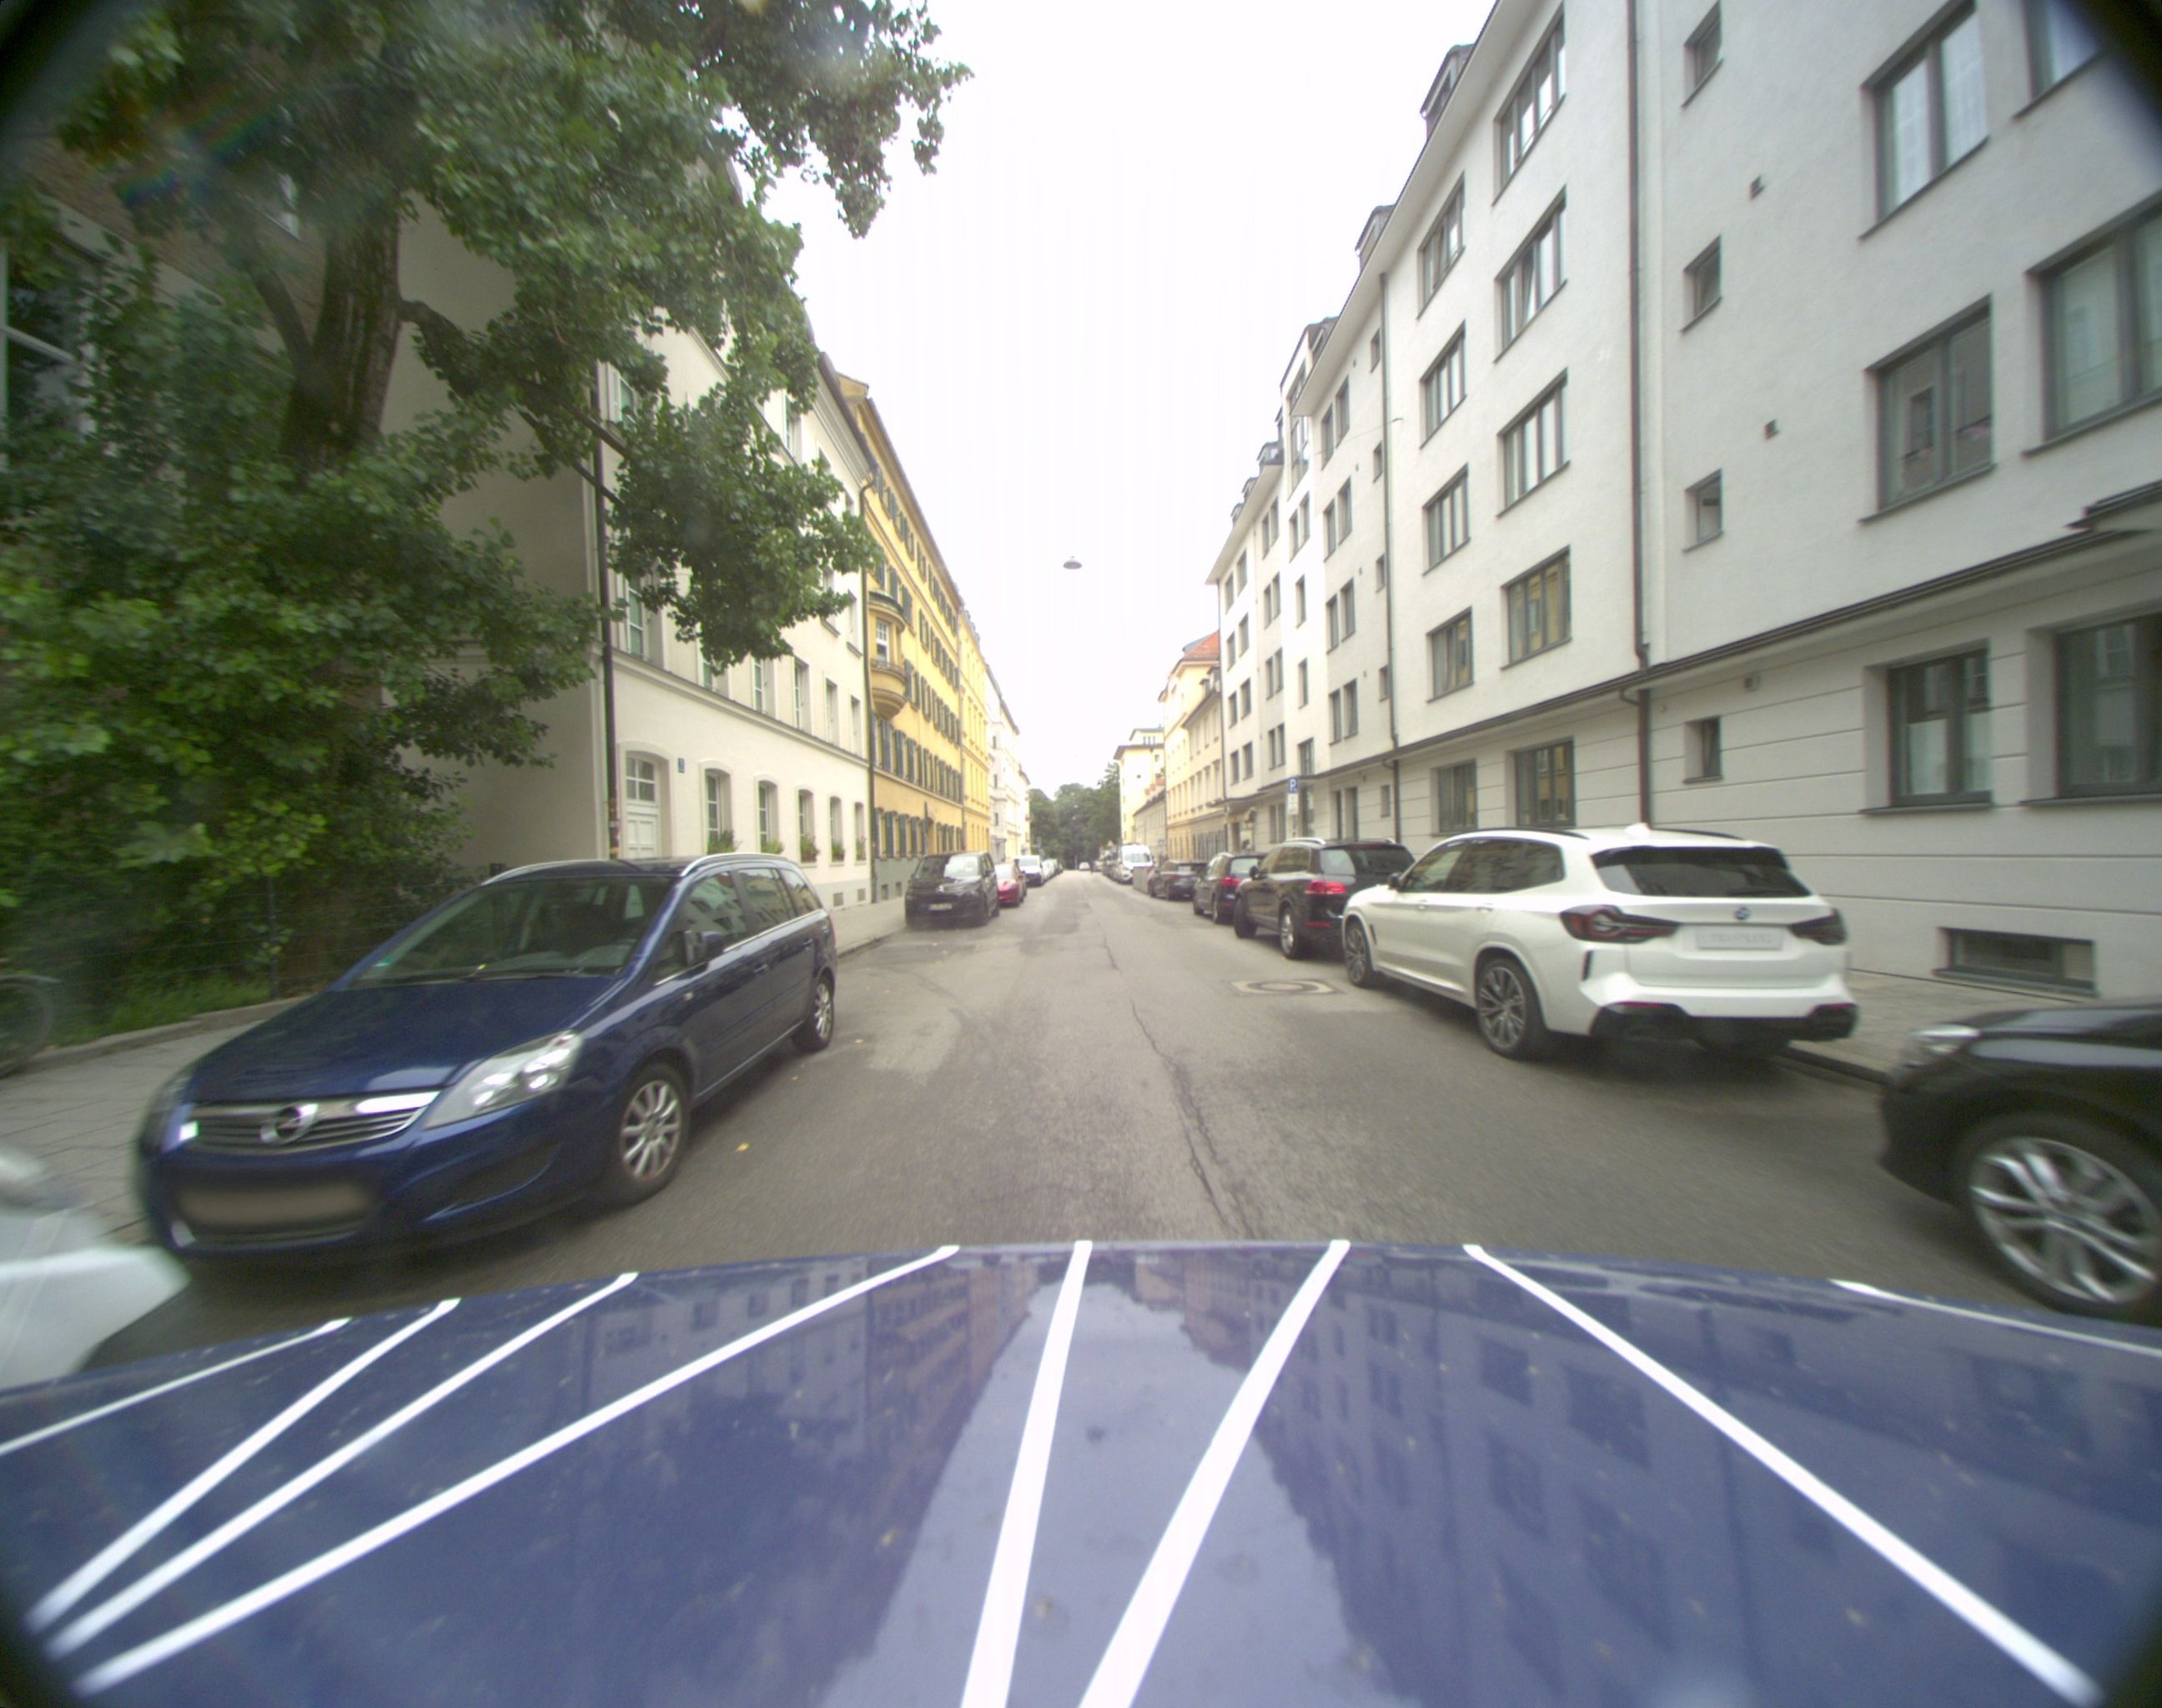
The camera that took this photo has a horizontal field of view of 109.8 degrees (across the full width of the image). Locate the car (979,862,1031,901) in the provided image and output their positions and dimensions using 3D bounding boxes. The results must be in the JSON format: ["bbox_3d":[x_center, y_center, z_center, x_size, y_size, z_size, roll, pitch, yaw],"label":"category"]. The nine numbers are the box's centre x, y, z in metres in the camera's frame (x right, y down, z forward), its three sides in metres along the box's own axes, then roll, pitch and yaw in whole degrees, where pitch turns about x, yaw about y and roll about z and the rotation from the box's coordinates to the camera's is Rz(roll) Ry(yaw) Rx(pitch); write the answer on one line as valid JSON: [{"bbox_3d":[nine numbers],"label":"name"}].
[{"bbox_3d":[-3.135,1.094,31.919,1.750,1.455,4.000,-1,0,0],"label":"car"}]

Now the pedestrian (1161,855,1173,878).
[{"bbox_3d":[6.673,0.978,59.142,0.807,1.701,1.021,-1,0,1],"label":"pedestrian"}]

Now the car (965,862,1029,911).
[{"bbox_3d":[-2.752,1.024,25.741,1.718,1.415,4.457,-2,0,-2],"label":"car"}]

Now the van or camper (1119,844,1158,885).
[{"bbox_3d":[3.398,0.592,46.178,1.998,2.298,5.478,-1,0,1],"label":"van or camper"}]

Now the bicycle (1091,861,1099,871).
[{"bbox_3d":[1.602,1.346,86.099,0.734,1.144,1.999,-2,0,-1],"label":"bicycle"}]

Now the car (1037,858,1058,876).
[{"bbox_3d":[-3.002,1.133,68.316,1.721,1.501,3.936,-1,0,-1],"label":"car"}]

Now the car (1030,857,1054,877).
[{"bbox_3d":[-3.148,1.047,62.449,1.721,1.501,4.469,-1,0,0],"label":"car"}]

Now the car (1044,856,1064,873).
[{"bbox_3d":[-3.187,1.217,90.881,1.998,1.850,5.114,-1,0,1],"label":"car"}]

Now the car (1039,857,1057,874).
[{"bbox_3d":[-3.237,1.117,74.491,1.721,1.592,4.322,-1,0,-2],"label":"car"}]

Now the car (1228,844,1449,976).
[{"bbox_3d":[3.702,0.730,11.892,1.877,1.678,4.520,0,0,-1],"label":"car"}]

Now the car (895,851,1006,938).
[{"bbox_3d":[-3.031,0.866,18.538,1.851,1.766,4.200,-4,1,0],"label":"car"}]

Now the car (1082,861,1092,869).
[{"bbox_3d":[1.015,1.950,135.801,1.793,1.409,3.905,0,0,-1],"label":"car"}]

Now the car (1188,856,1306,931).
[{"bbox_3d":[3.695,0.830,17.621,1.778,1.530,4.159,0,0,-1],"label":"car"}]

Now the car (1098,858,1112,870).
[{"bbox_3d":[3.267,1.318,102.866,1.711,1.490,4.000,-1,0,-1],"label":"car"}]

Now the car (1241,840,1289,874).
[{"bbox_3d":[11.804,0.163,49.114,1.998,2.002,4.400,-3,0,1],"label":"car"}]

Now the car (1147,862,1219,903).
[{"bbox_3d":[3.614,0.977,27.543,1.644,1.346,4.056,0,0,-7],"label":"car"}]

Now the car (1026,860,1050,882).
[{"bbox_3d":[-3.128,1.245,55.914,1.627,1.501,3.761,-1,0,-1],"label":"car"}]

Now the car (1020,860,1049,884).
[{"bbox_3d":[-3.065,1.170,51.240,1.821,1.501,4.586,-1,0,-2],"label":"car"}]

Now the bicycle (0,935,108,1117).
[{"bbox_3d":[-7.024,1.096,4.097,0.672,1.067,2.224,-1,0,0],"label":"bicycle"}]

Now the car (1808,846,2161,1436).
[{"bbox_3d":[4.027,0.789,0.865,1.877,1.648,4.589,0,0,-3],"label":"car"}]

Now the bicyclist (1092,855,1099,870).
[{"bbox_3d":[1.605,0.962,86.047,0.688,1.618,0.853,-2,0,-2],"label":"bicyclist"}]

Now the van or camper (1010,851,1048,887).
[{"bbox_3d":[-3.102,0.888,46.242,1.999,2.002,5.232,-1,0,-1],"label":"van or camper"}]

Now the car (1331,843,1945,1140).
[{"bbox_3d":[3.877,0.788,6.543,1.877,1.648,4.590,0,0,-1],"label":"car"}]

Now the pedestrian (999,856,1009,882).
[{"bbox_3d":[-4.957,0.941,48.949,0.598,1.629,0.896,2,0,-2],"label":"pedestrian"}]

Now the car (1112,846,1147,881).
[{"bbox_3d":[3.281,0.633,51.775,1.862,2.188,4.560,-2,0,-2],"label":"car"}]

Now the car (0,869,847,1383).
[{"bbox_3d":[-2.943,0.950,4.664,1.813,1.591,4.214,-2,0,-2],"label":"car"}]
